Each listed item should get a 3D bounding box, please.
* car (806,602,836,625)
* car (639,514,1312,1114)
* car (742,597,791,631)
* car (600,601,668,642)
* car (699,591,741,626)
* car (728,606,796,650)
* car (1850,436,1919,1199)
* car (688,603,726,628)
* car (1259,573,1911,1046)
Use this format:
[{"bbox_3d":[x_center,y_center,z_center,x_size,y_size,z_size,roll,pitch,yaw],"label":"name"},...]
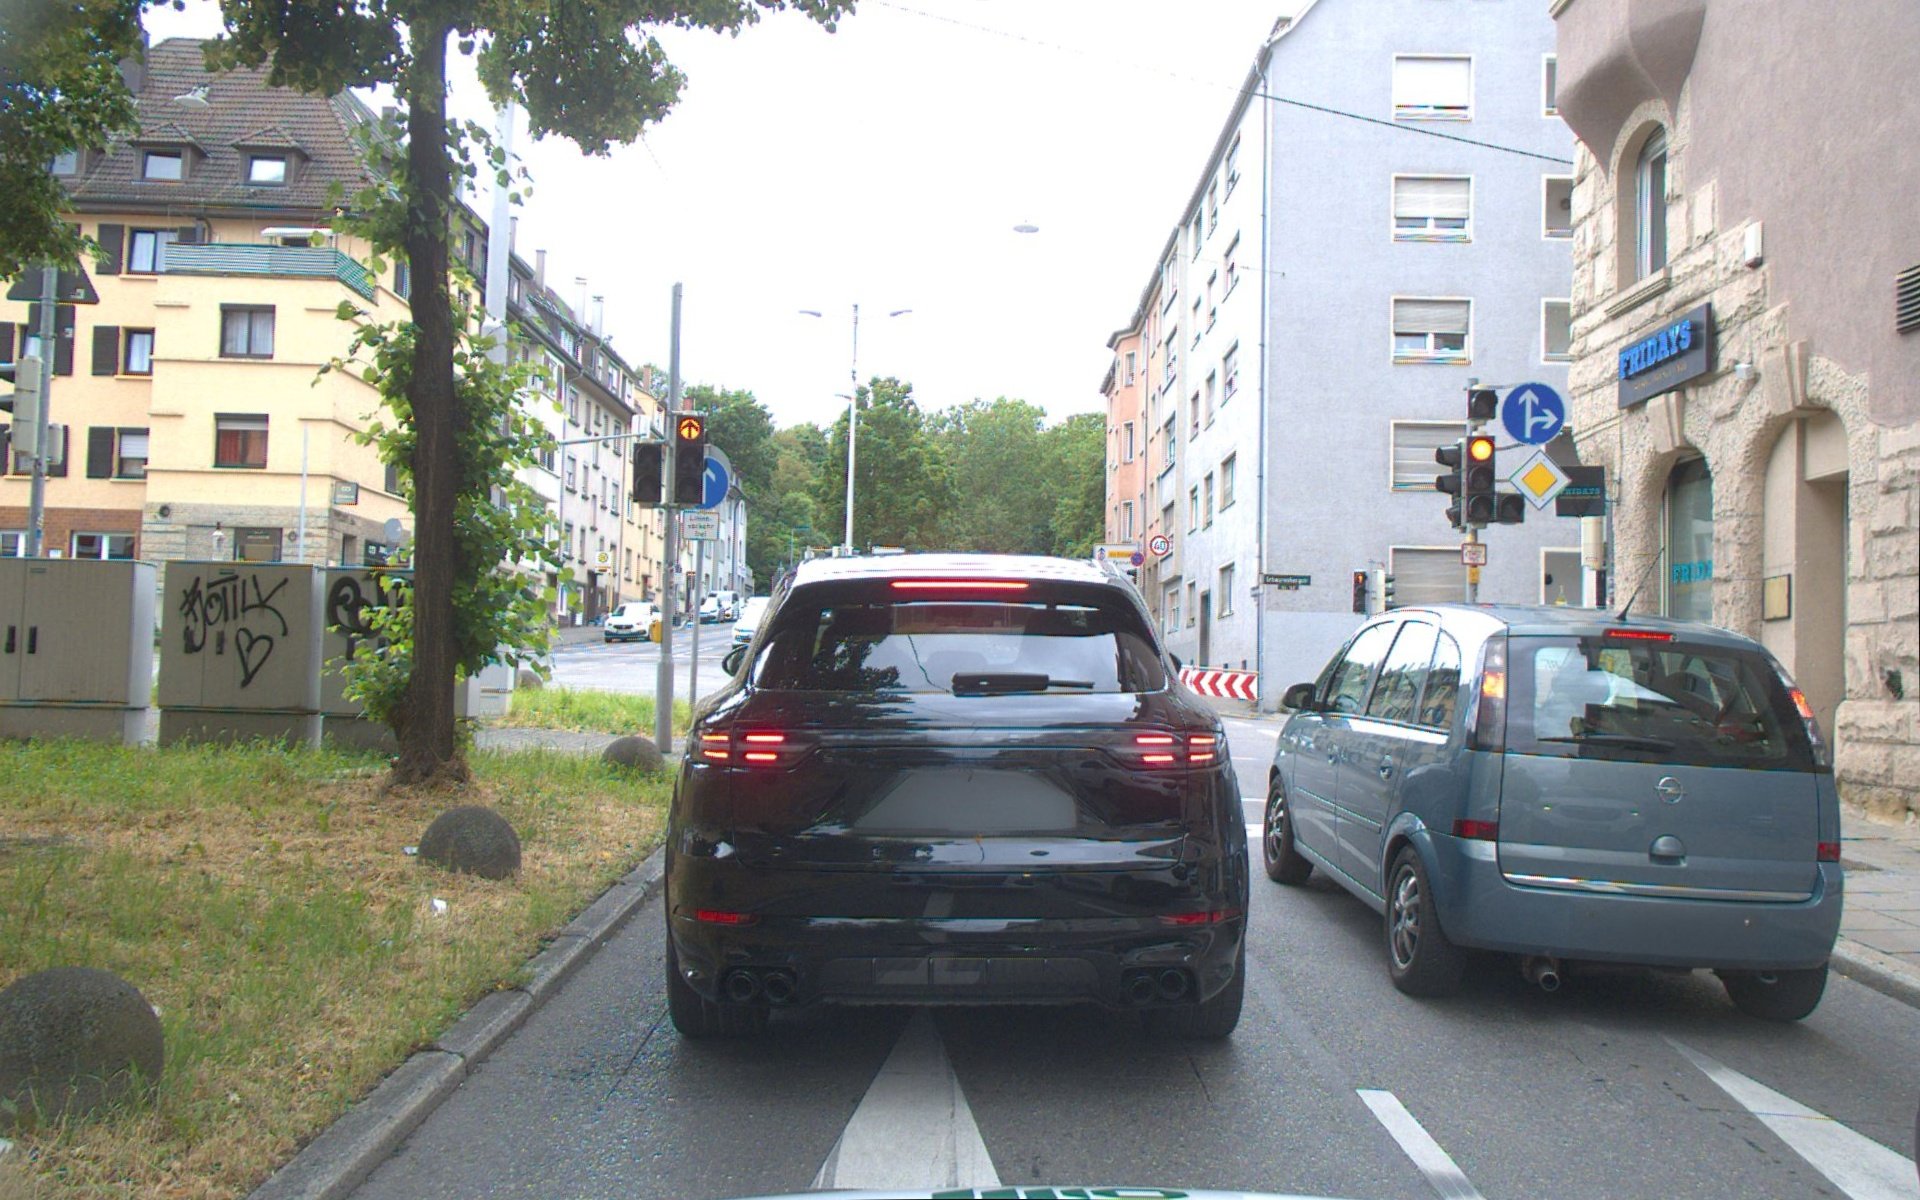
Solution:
[{"bbox_3d":[-9.712,0.931,115.434,1.585,1.506,3.824,1,-1,3],"label":"car"},{"bbox_3d":[0.022,0.618,6.724,1.916,1.704,3.999,0,0,-1],"label":"car"},{"bbox_3d":[-9.769,0.720,83.803,1.933,1.638,4.557,1,0,-1],"label":"car"},{"bbox_3d":[-12.580,0.828,63.964,1.806,1.512,3.898,1,0,0],"label":"car"},{"bbox_3d":[-15.117,0.541,104.278,1.975,2.081,4.666,1,0,0],"label":"car"},{"bbox_3d":[-6.654,0.911,55.982,1.824,1.412,4.094,1,0,0],"label":"car"},{"bbox_3d":[2.901,0.642,1.063,1.936,1.806,4.674,4,0,-2],"label":"car"},{"bbox_3d":[-15.081,0.905,98.626,1.703,1.411,3.813,1,0,0],"label":"car"},{"bbox_3d":[2.628,0.777,7.896,1.596,1.625,3.668,4,0,-1],"label":"car"}]
